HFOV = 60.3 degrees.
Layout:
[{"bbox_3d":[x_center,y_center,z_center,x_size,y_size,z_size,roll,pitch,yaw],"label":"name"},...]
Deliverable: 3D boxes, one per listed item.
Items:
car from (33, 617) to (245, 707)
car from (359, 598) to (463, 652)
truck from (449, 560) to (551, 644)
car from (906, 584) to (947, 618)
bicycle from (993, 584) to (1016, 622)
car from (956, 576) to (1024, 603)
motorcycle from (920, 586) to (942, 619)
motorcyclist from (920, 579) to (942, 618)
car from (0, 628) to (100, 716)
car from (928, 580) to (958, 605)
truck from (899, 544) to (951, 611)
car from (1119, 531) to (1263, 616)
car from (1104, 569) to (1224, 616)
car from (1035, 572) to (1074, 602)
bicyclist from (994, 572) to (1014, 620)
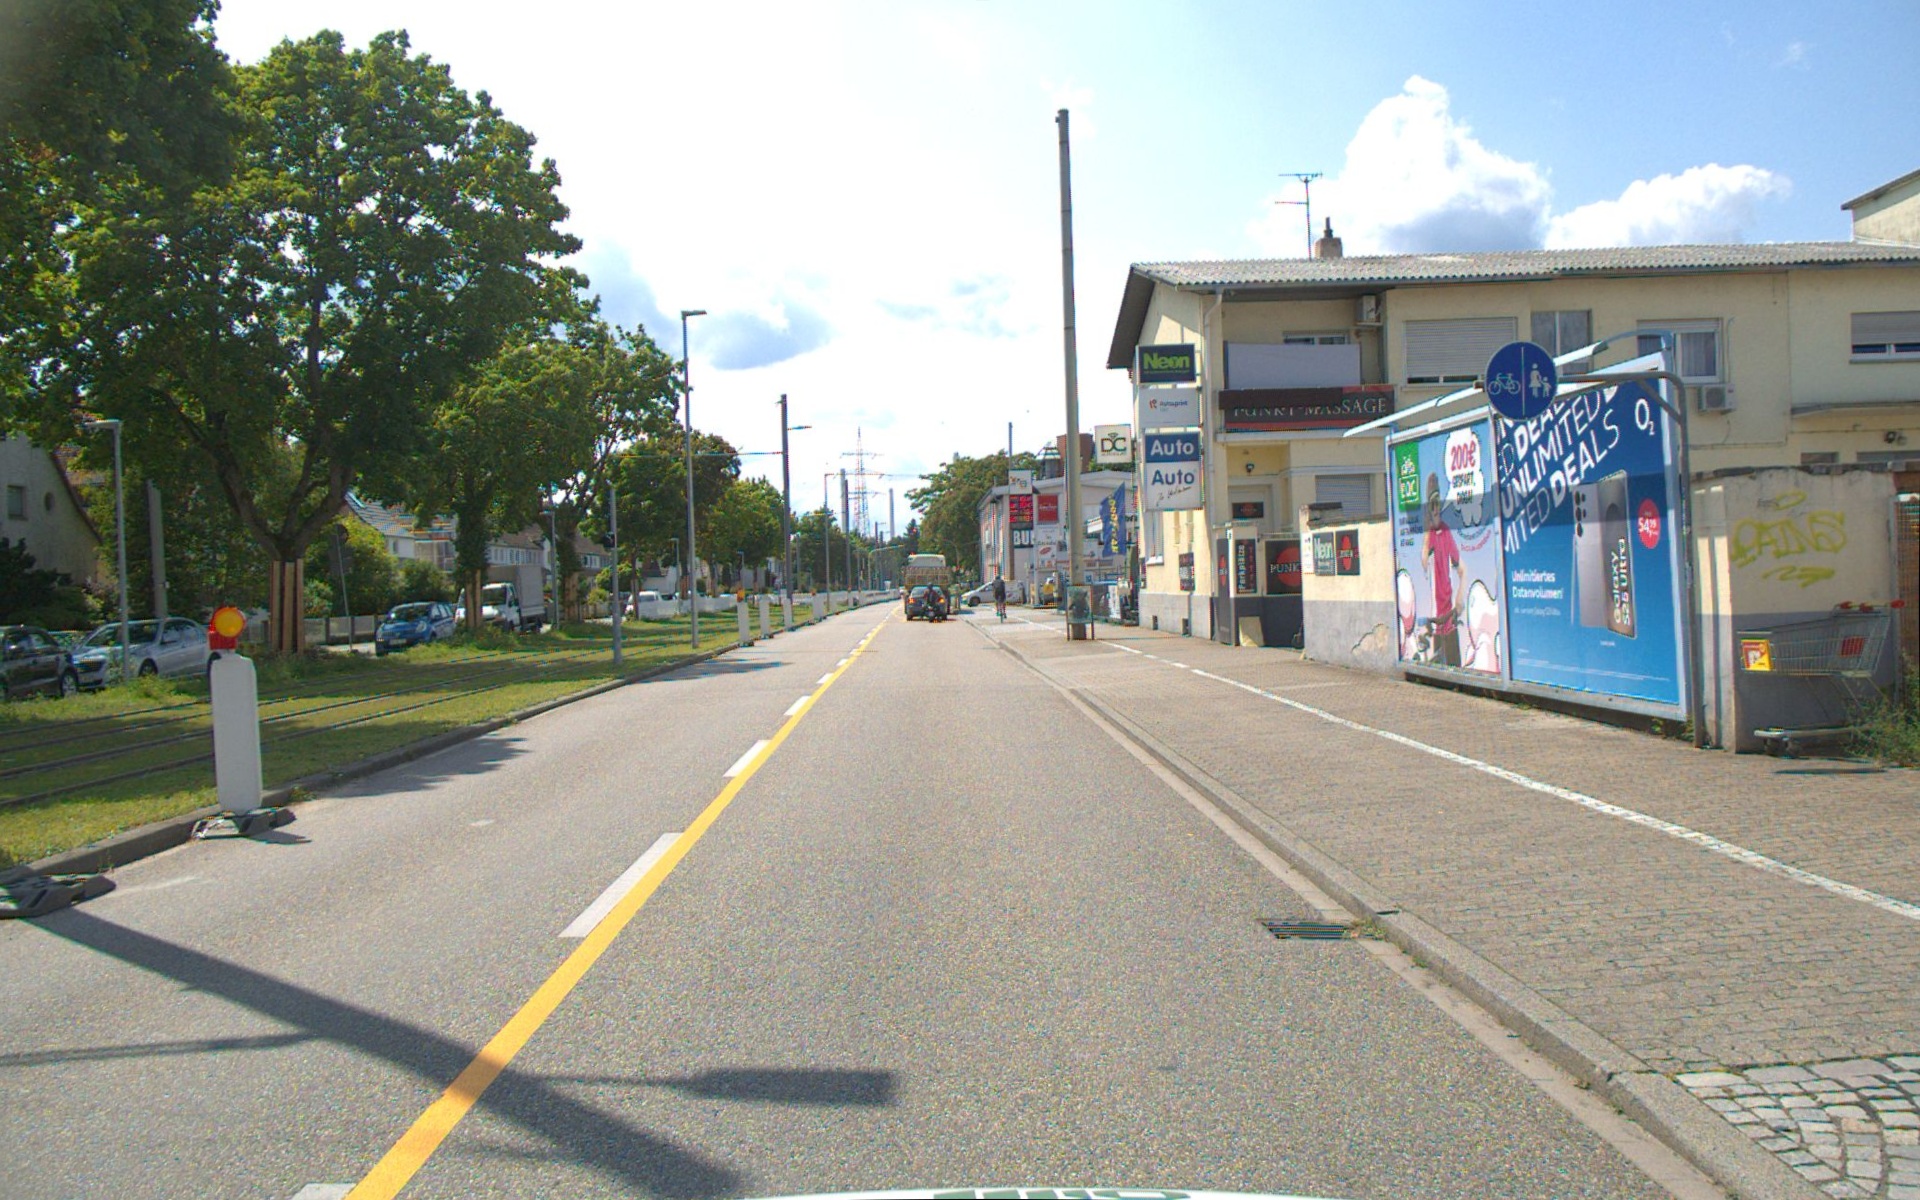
[{"bbox_3d":[-16.262,1.169,33.069,1.768,1.508,4.938,-3,0,-1],"label":"car"},{"bbox_3d":[-16.729,0.750,50.623,1.954,1.478,3.997,-3,0,-3],"label":"car"},{"bbox_3d":[-17.019,0.024,61.557,1.954,2.815,6.275,-5,1,-1],"label":"truck"},{"bbox_3d":[-1.516,0.014,74.632,1.785,1.449,3.999,-1,1,-1],"label":"car"},{"bbox_3d":[1.668,0.096,62.416,0.679,1.385,2.418,-2,1,-2],"label":"bicycle"},{"bbox_3d":[2.032,-0.691,112.190,4.251,1.578,1.946,-3,0,-10],"label":"car"},{"bbox_3d":[-1.248,0.104,70.164,0.920,1.343,2.644,0,0,-1],"label":"motorcycle"},{"bbox_3d":[-1.242,-0.051,69.983,0.920,1.643,1.204,0,0,-1],"label":"motorcyclist"},{"bbox_3d":[-16.257,1.252,27.414,1.954,1.340,3.851,-5,0,-2],"label":"car"},{"bbox_3d":[-1.089,-0.472,103.841,1.784,1.489,3.999,-1,1,-1],"label":"car"},{"bbox_3d":[-1.857,-1.309,90.600,2.557,3.312,9.182,-3,2,-1],"label":"truck"},{"bbox_3d":[7.711,-0.880,55.569,4.444,2.618,2.151,-2,0,0],"label":"car"},{"bbox_3d":[7.174,-0.259,58.470,4.095,1.456,1.821,-2,0,6],"label":"car"},{"bbox_3d":[5.783,-0.784,101.614,1.920,1.677,3.997,-3,0,-3],"label":"car"},{"bbox_3d":[1.654,-0.156,62.340,0.657,1.774,0.813,-2,0,-2],"label":"bicyclist"}]
